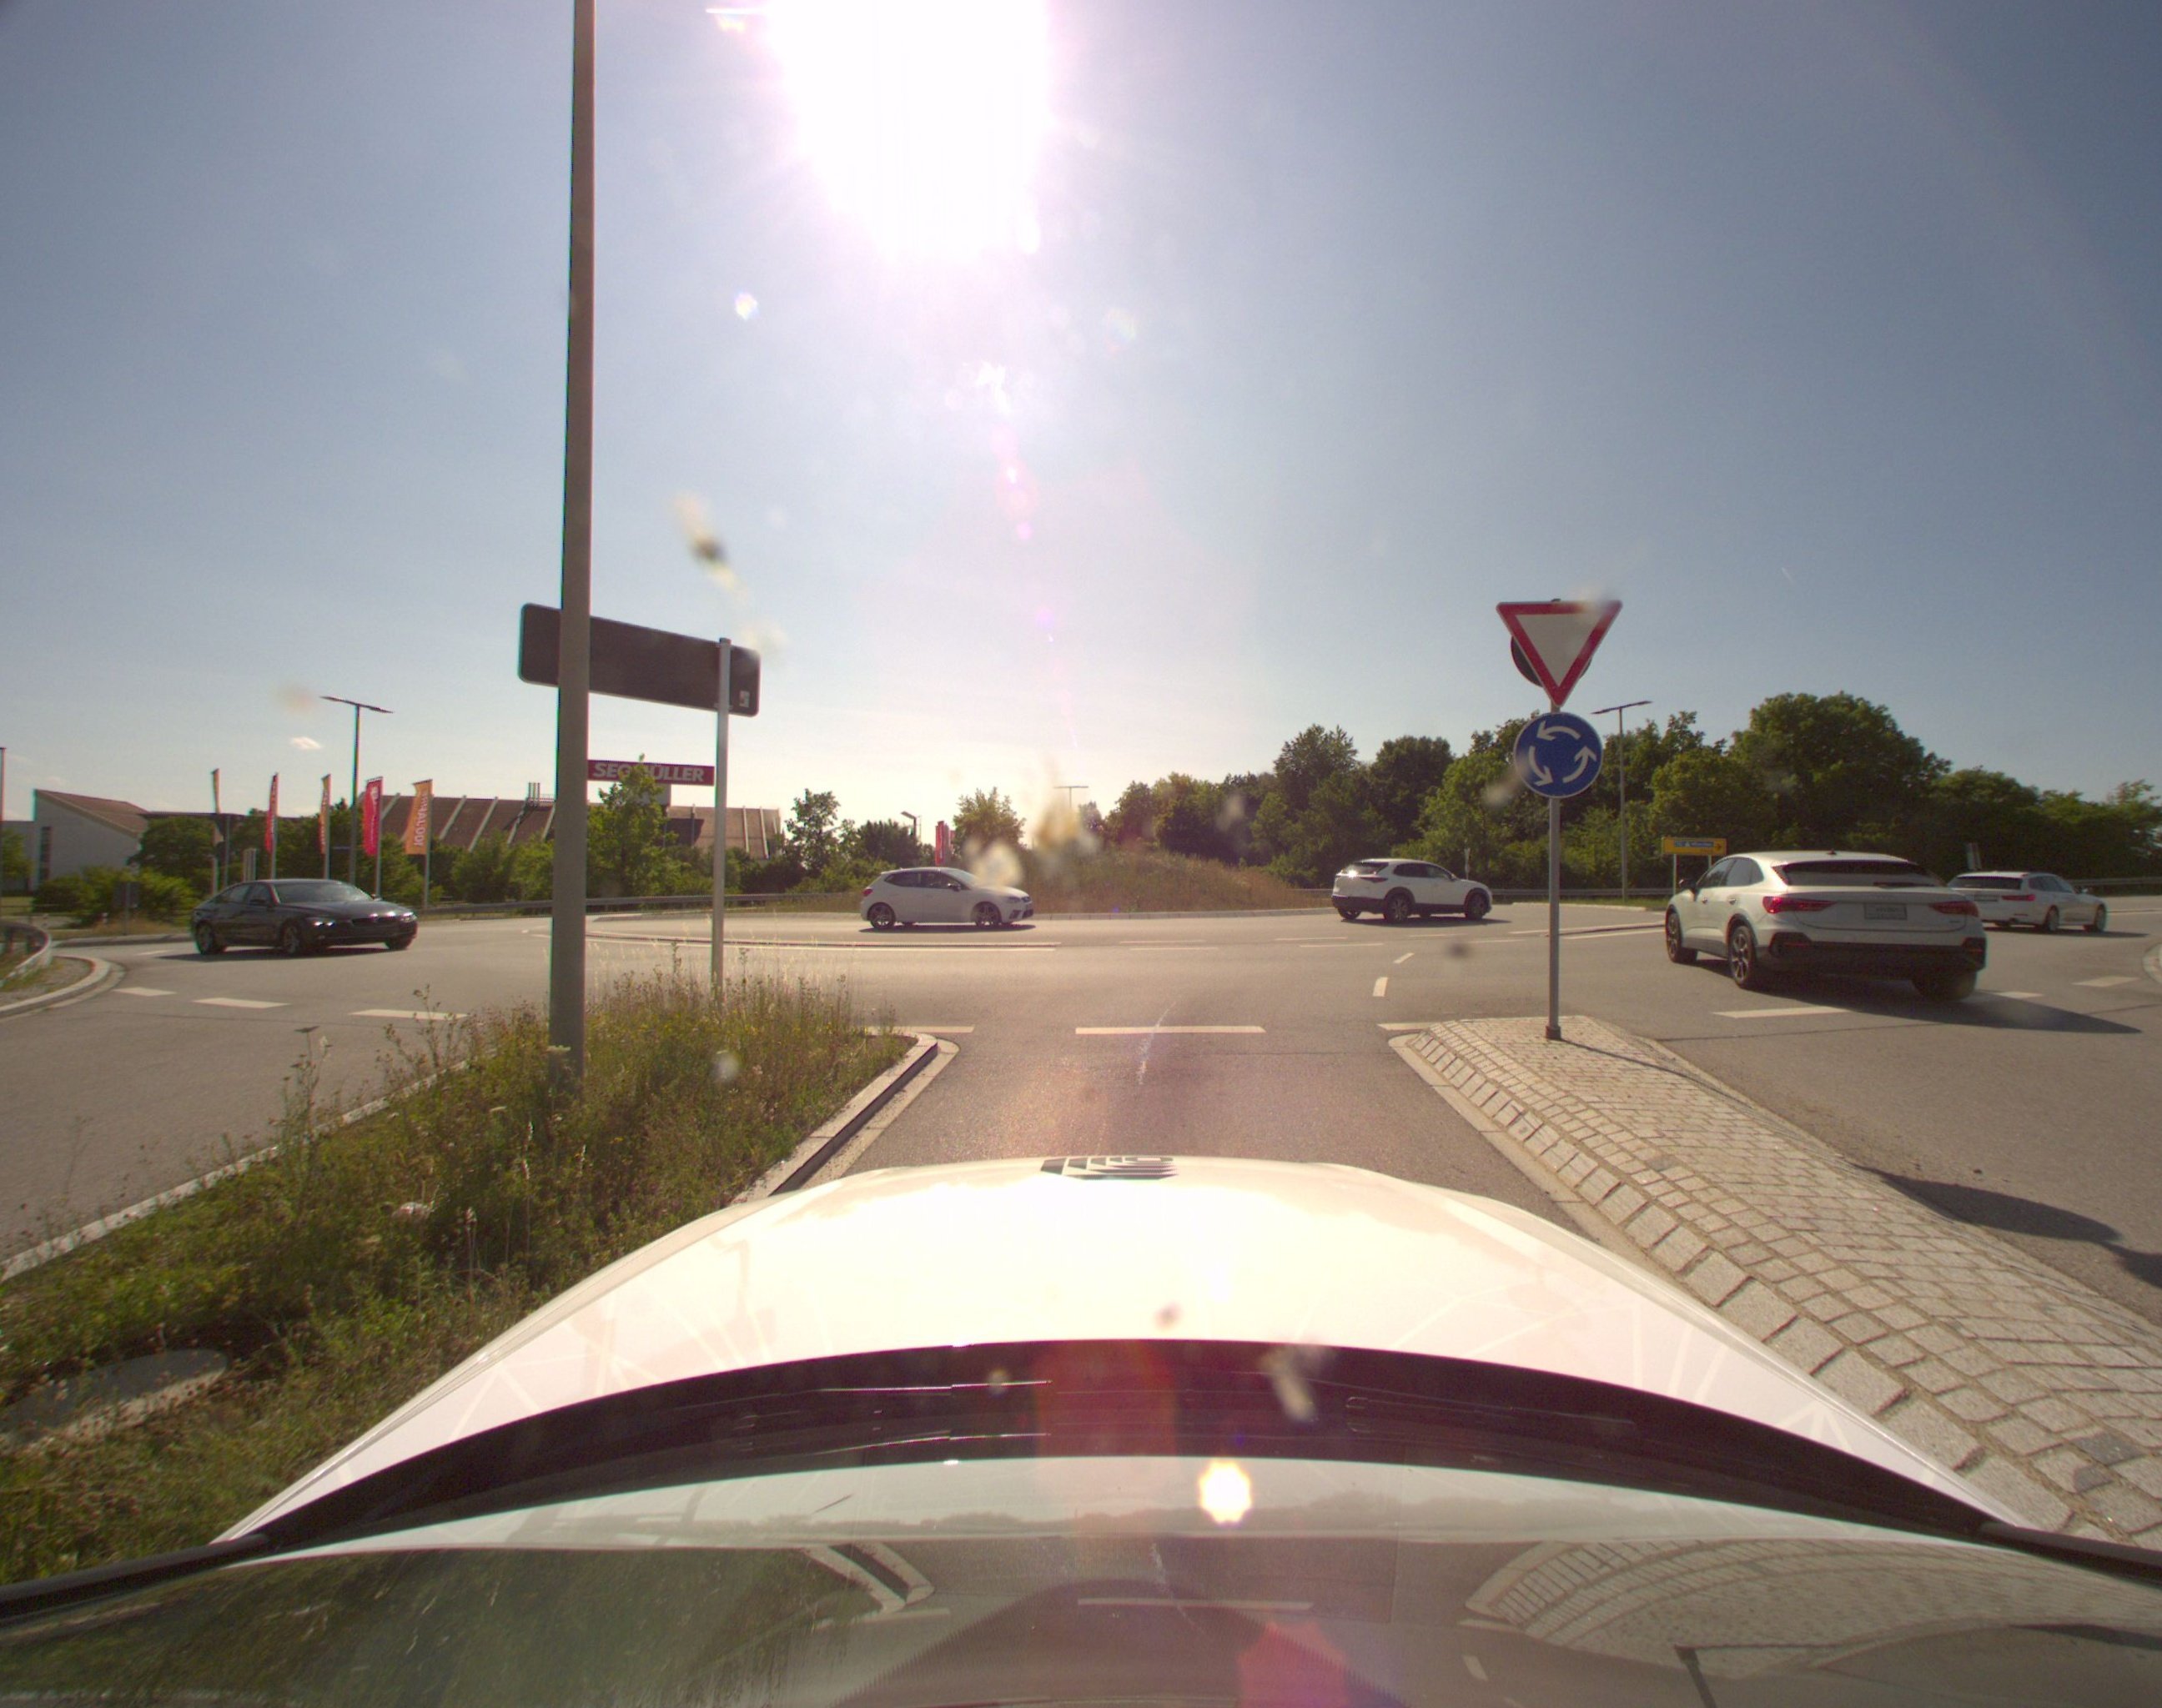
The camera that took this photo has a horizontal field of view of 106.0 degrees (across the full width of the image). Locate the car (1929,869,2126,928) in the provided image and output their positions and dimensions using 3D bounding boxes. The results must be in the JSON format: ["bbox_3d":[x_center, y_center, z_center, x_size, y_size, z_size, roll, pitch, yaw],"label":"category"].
[{"bbox_3d":[23.434,1.053,20.182,4.336,1.352,1.564,1,-1,-17],"label":"car"}]

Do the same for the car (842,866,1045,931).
[{"bbox_3d":[-3.213,1.013,19.413,4.374,1.405,1.797,0,-1,11],"label":"car"}]

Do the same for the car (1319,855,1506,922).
[{"bbox_3d":[8.261,0.811,20.314,4.290,1.530,1.779,0,-2,-22],"label":"car"}]

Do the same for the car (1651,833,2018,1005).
[{"bbox_3d":[8.652,0.639,9.924,1.825,1.596,4.347,-1,-1,22],"label":"car"}]

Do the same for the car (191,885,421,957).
[{"bbox_3d":[-14.992,1.226,15.779,3.820,1.182,1.685,0,-1,20],"label":"car"}]
